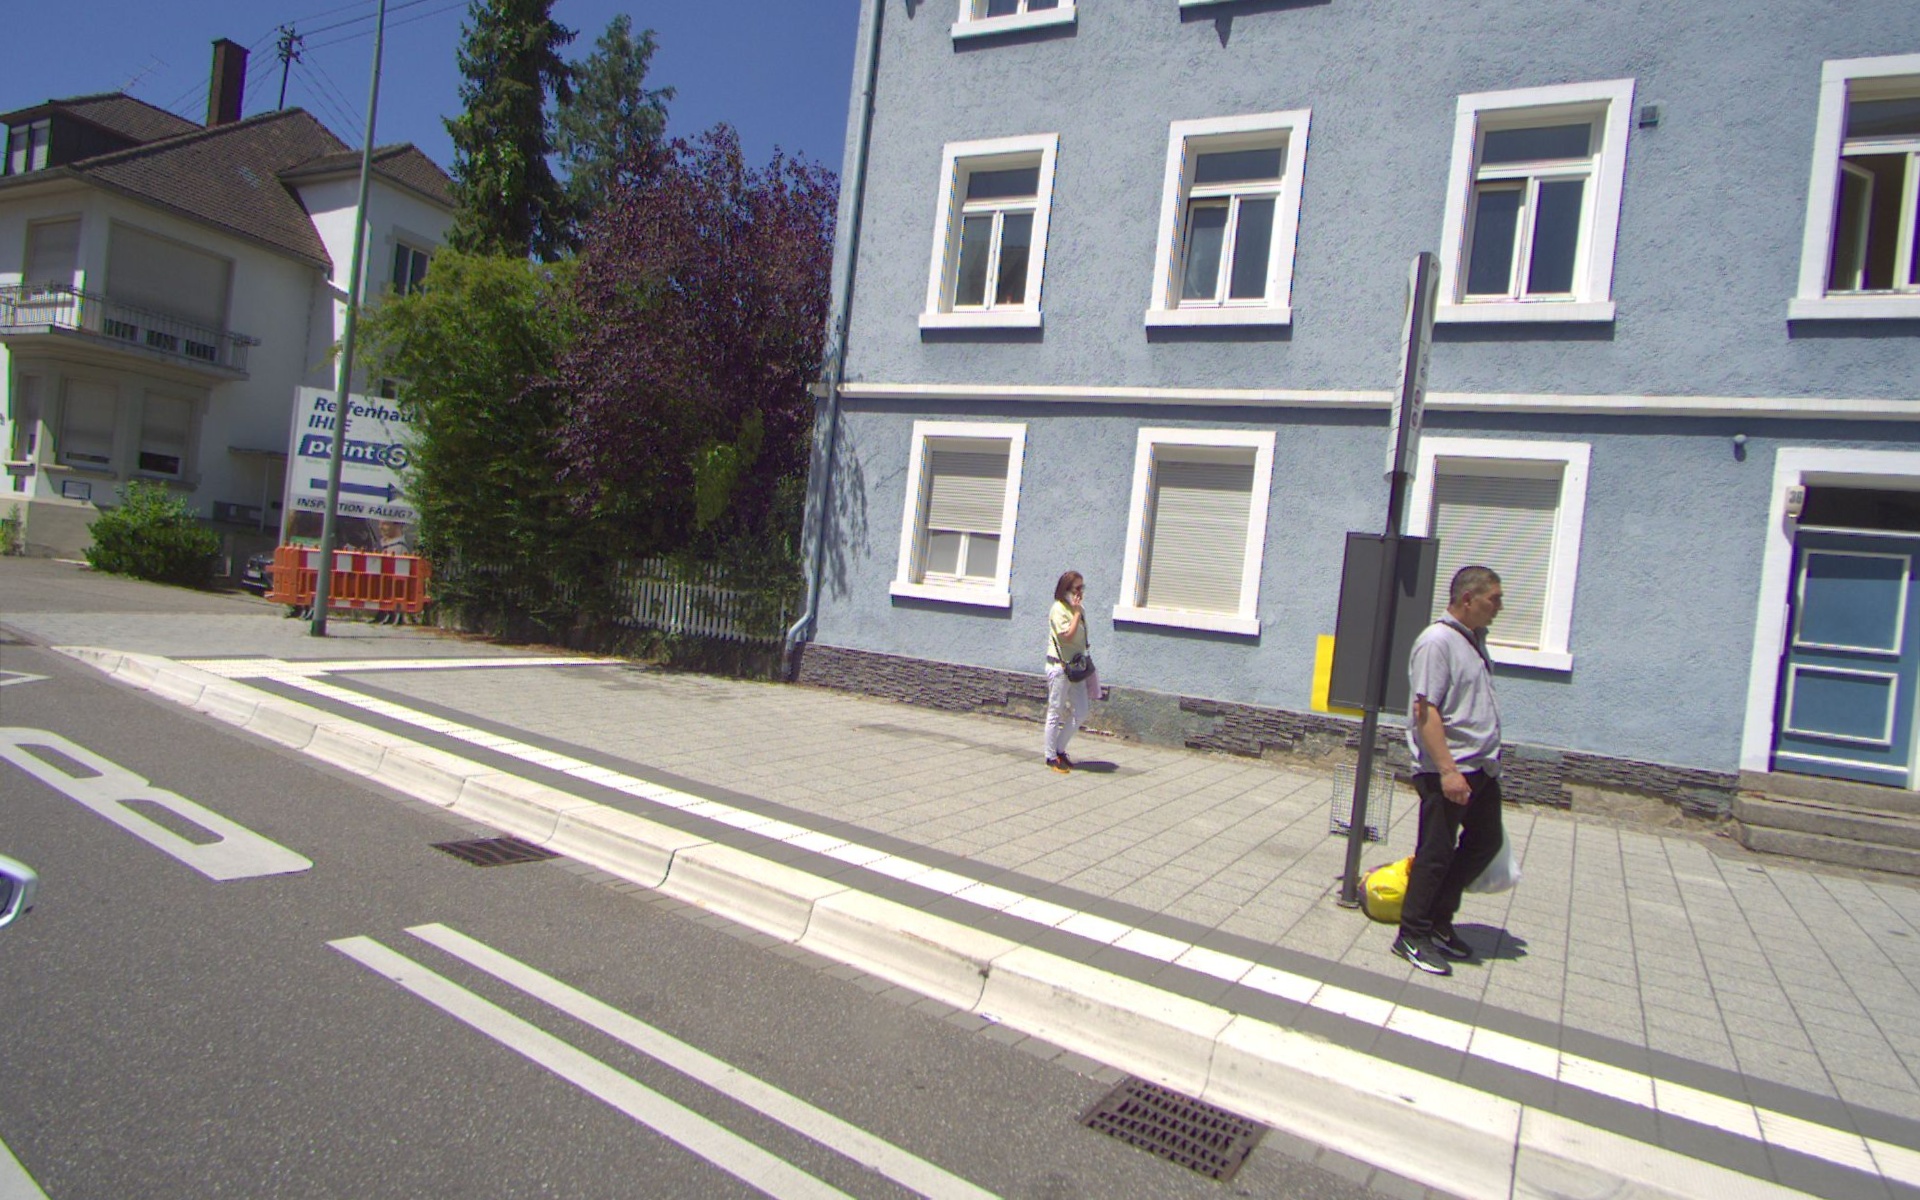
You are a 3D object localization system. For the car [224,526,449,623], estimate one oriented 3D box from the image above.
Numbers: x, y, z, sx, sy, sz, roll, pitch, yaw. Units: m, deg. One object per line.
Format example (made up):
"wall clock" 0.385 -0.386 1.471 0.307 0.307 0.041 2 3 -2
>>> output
"car" -14.432 -0.535 23.523 1.767 1.609 4.000 6 -3 28
